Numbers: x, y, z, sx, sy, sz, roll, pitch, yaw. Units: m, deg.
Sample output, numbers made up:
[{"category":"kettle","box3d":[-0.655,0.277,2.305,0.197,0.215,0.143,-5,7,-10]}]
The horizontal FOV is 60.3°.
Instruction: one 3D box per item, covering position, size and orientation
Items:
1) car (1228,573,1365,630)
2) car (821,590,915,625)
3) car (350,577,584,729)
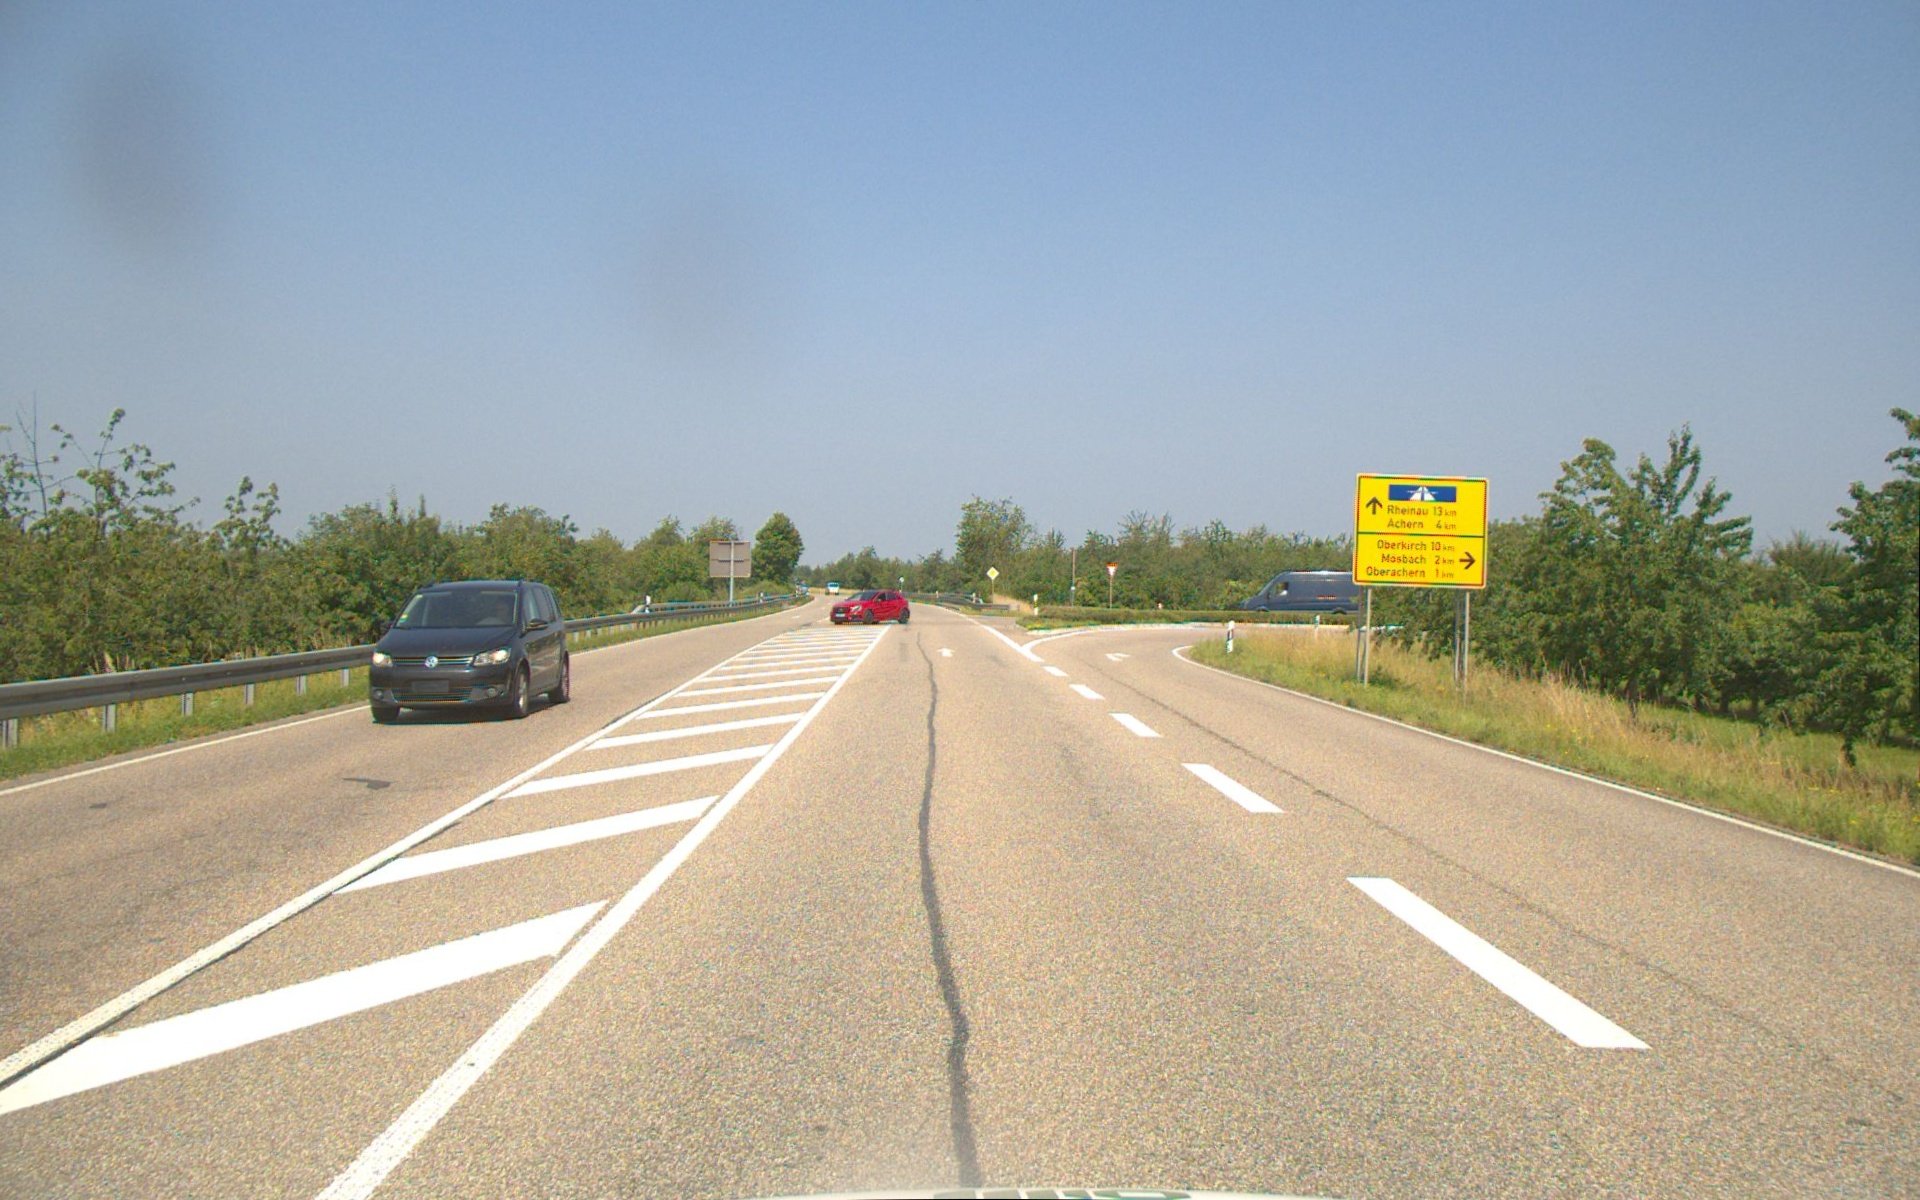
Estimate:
[{"category":"car","box3d":[15.923,0.077,78.486,6.159,2.620,2.063,-1,-1,5]},{"category":"car","box3d":[-3.920,0.311,71.229,1.783,1.474,4.483,0,0,32]},{"category":"car","box3d":[-5.978,0.585,20.649,1.768,1.666,4.805,0,0,-4]}]
